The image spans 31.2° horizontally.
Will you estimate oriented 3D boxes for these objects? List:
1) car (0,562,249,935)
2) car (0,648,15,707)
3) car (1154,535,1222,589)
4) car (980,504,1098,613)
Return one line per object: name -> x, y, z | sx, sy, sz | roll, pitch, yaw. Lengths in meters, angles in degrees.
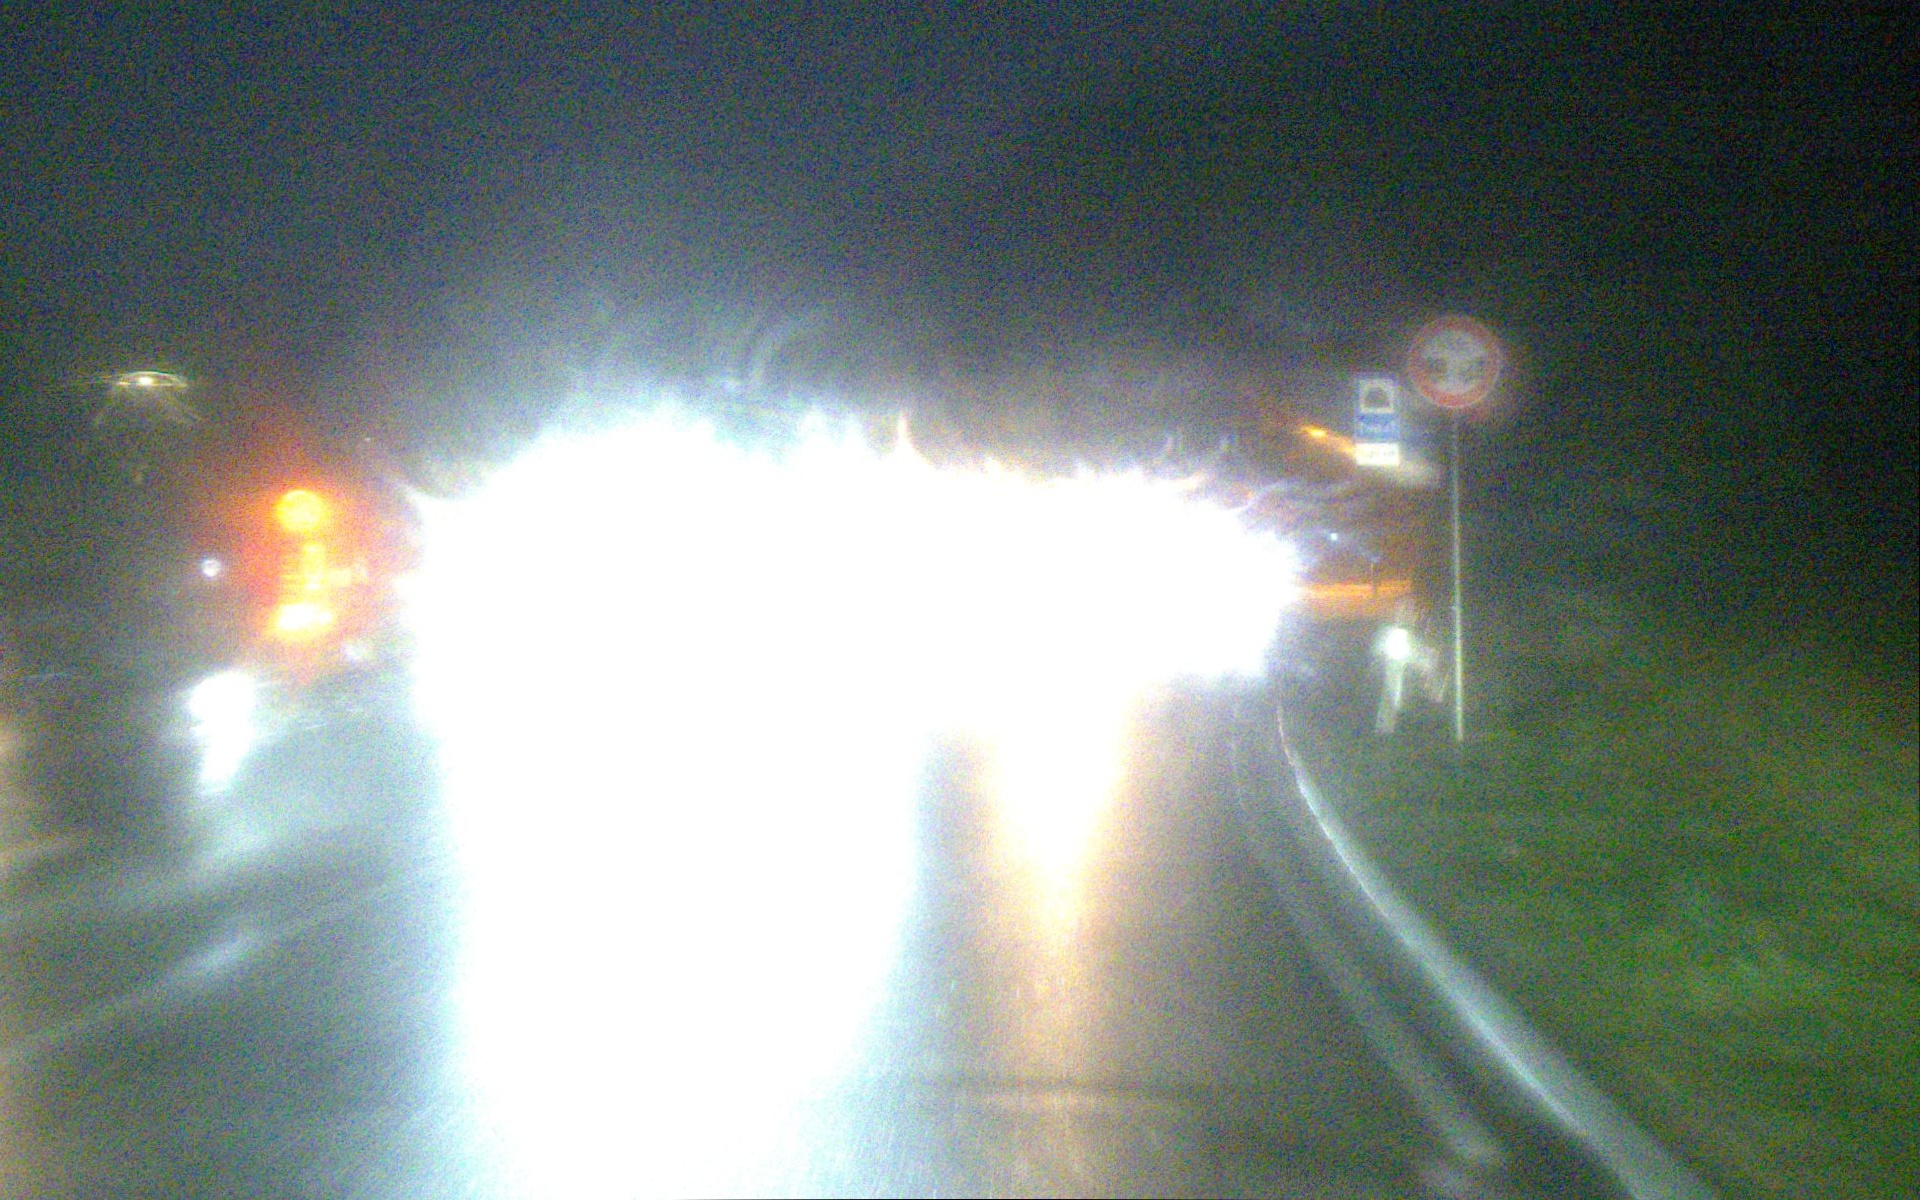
car -> -4.263, 0.542, 13.762 | 1.635, 1.350, 4.141 | 0, 1, 5
car -> -27.149, 2.218, 93.038 | 1.772, 1.590, 4.000 | -5, 0, 3
car -> 6.044, -0.993, 90.747 | 1.591, 1.375, 4.324 | 1, 0, 6
car -> 1.579, -0.822, 66.915 | 1.892, 1.996, 4.880 | 2, 1, 6
